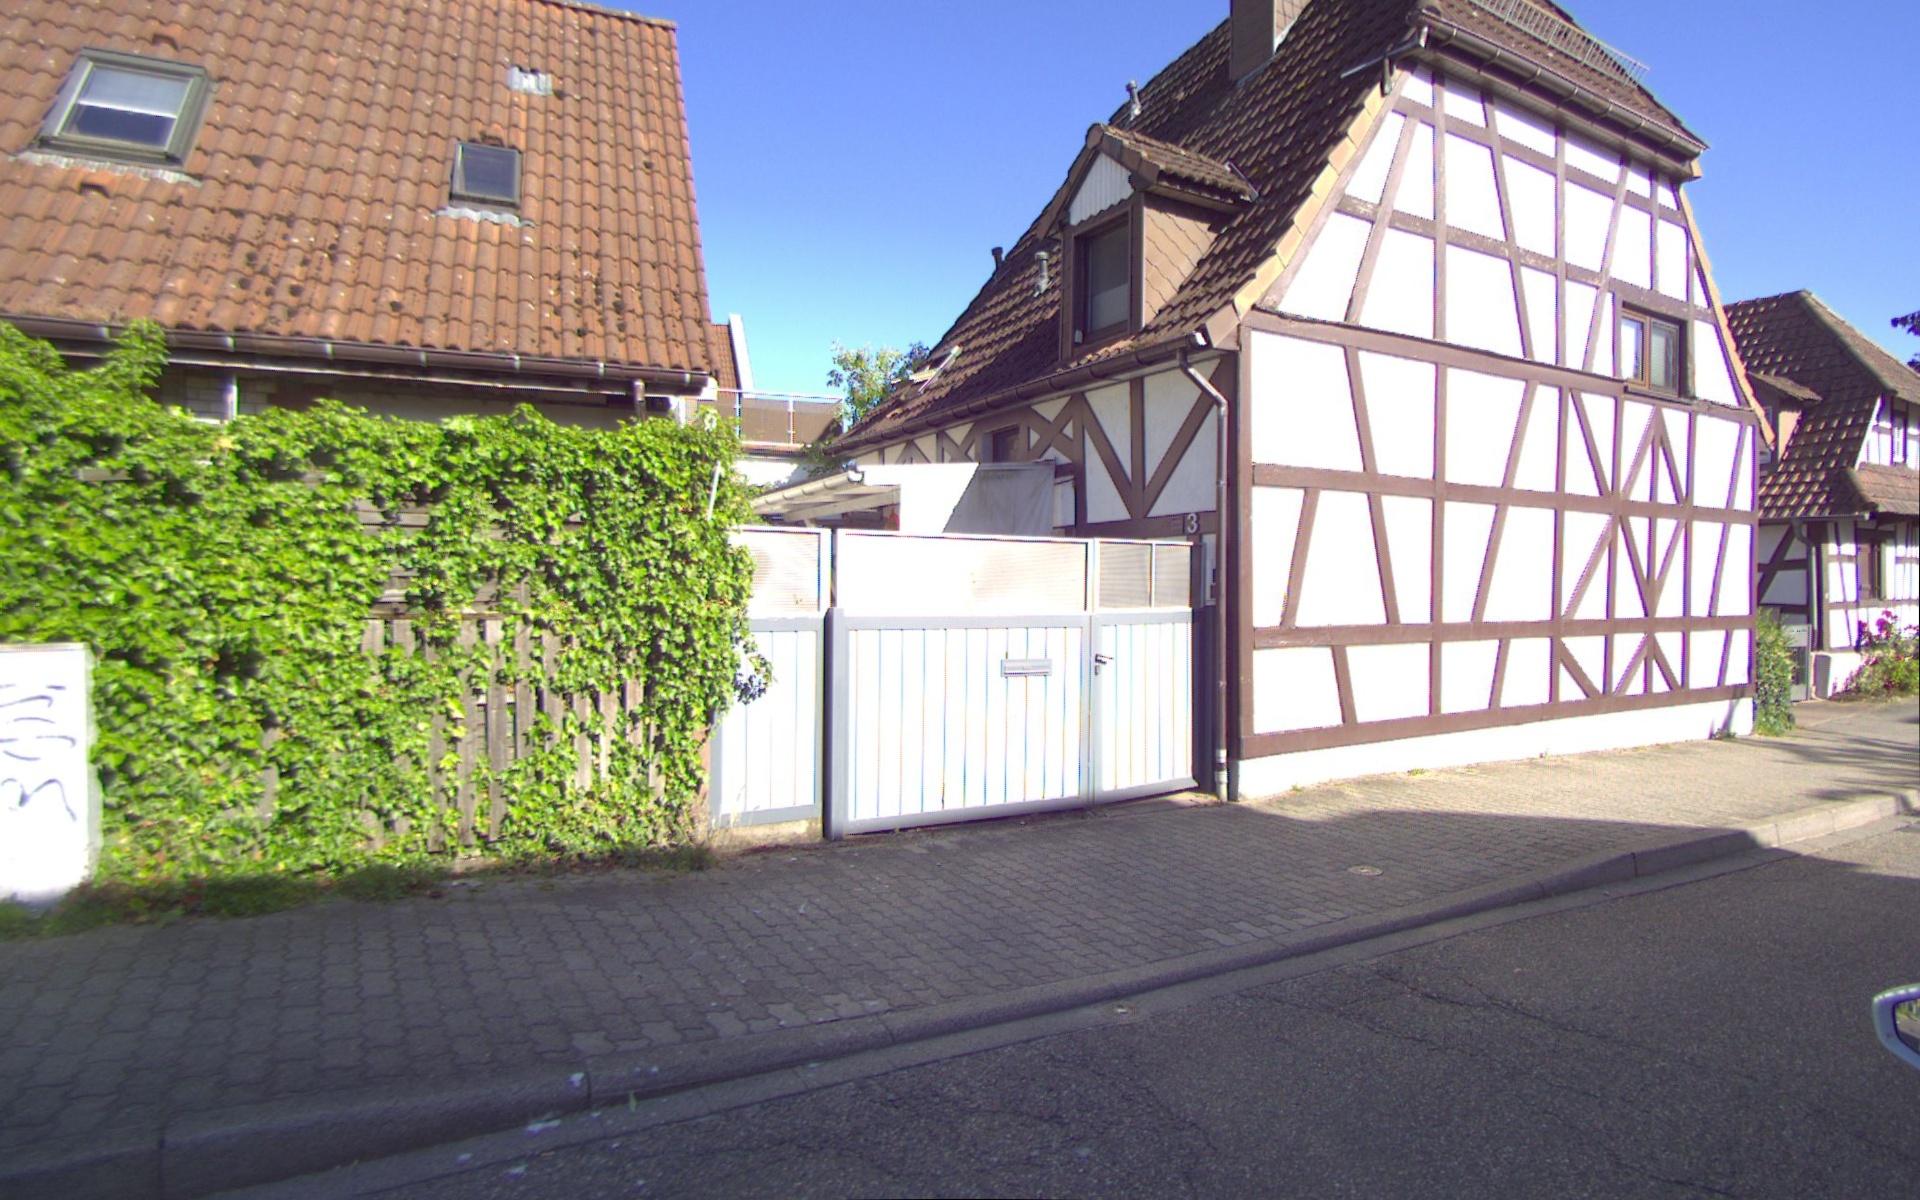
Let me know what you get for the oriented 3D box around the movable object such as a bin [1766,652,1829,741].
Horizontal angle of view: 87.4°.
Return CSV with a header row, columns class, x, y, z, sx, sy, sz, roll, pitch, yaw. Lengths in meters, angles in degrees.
class,x,y,z,sx,sy,sz,roll,pitch,yaw
movable object such as a bin,11.304,1.284,13.556,0.660,1.155,0.473,1,-1,-32
